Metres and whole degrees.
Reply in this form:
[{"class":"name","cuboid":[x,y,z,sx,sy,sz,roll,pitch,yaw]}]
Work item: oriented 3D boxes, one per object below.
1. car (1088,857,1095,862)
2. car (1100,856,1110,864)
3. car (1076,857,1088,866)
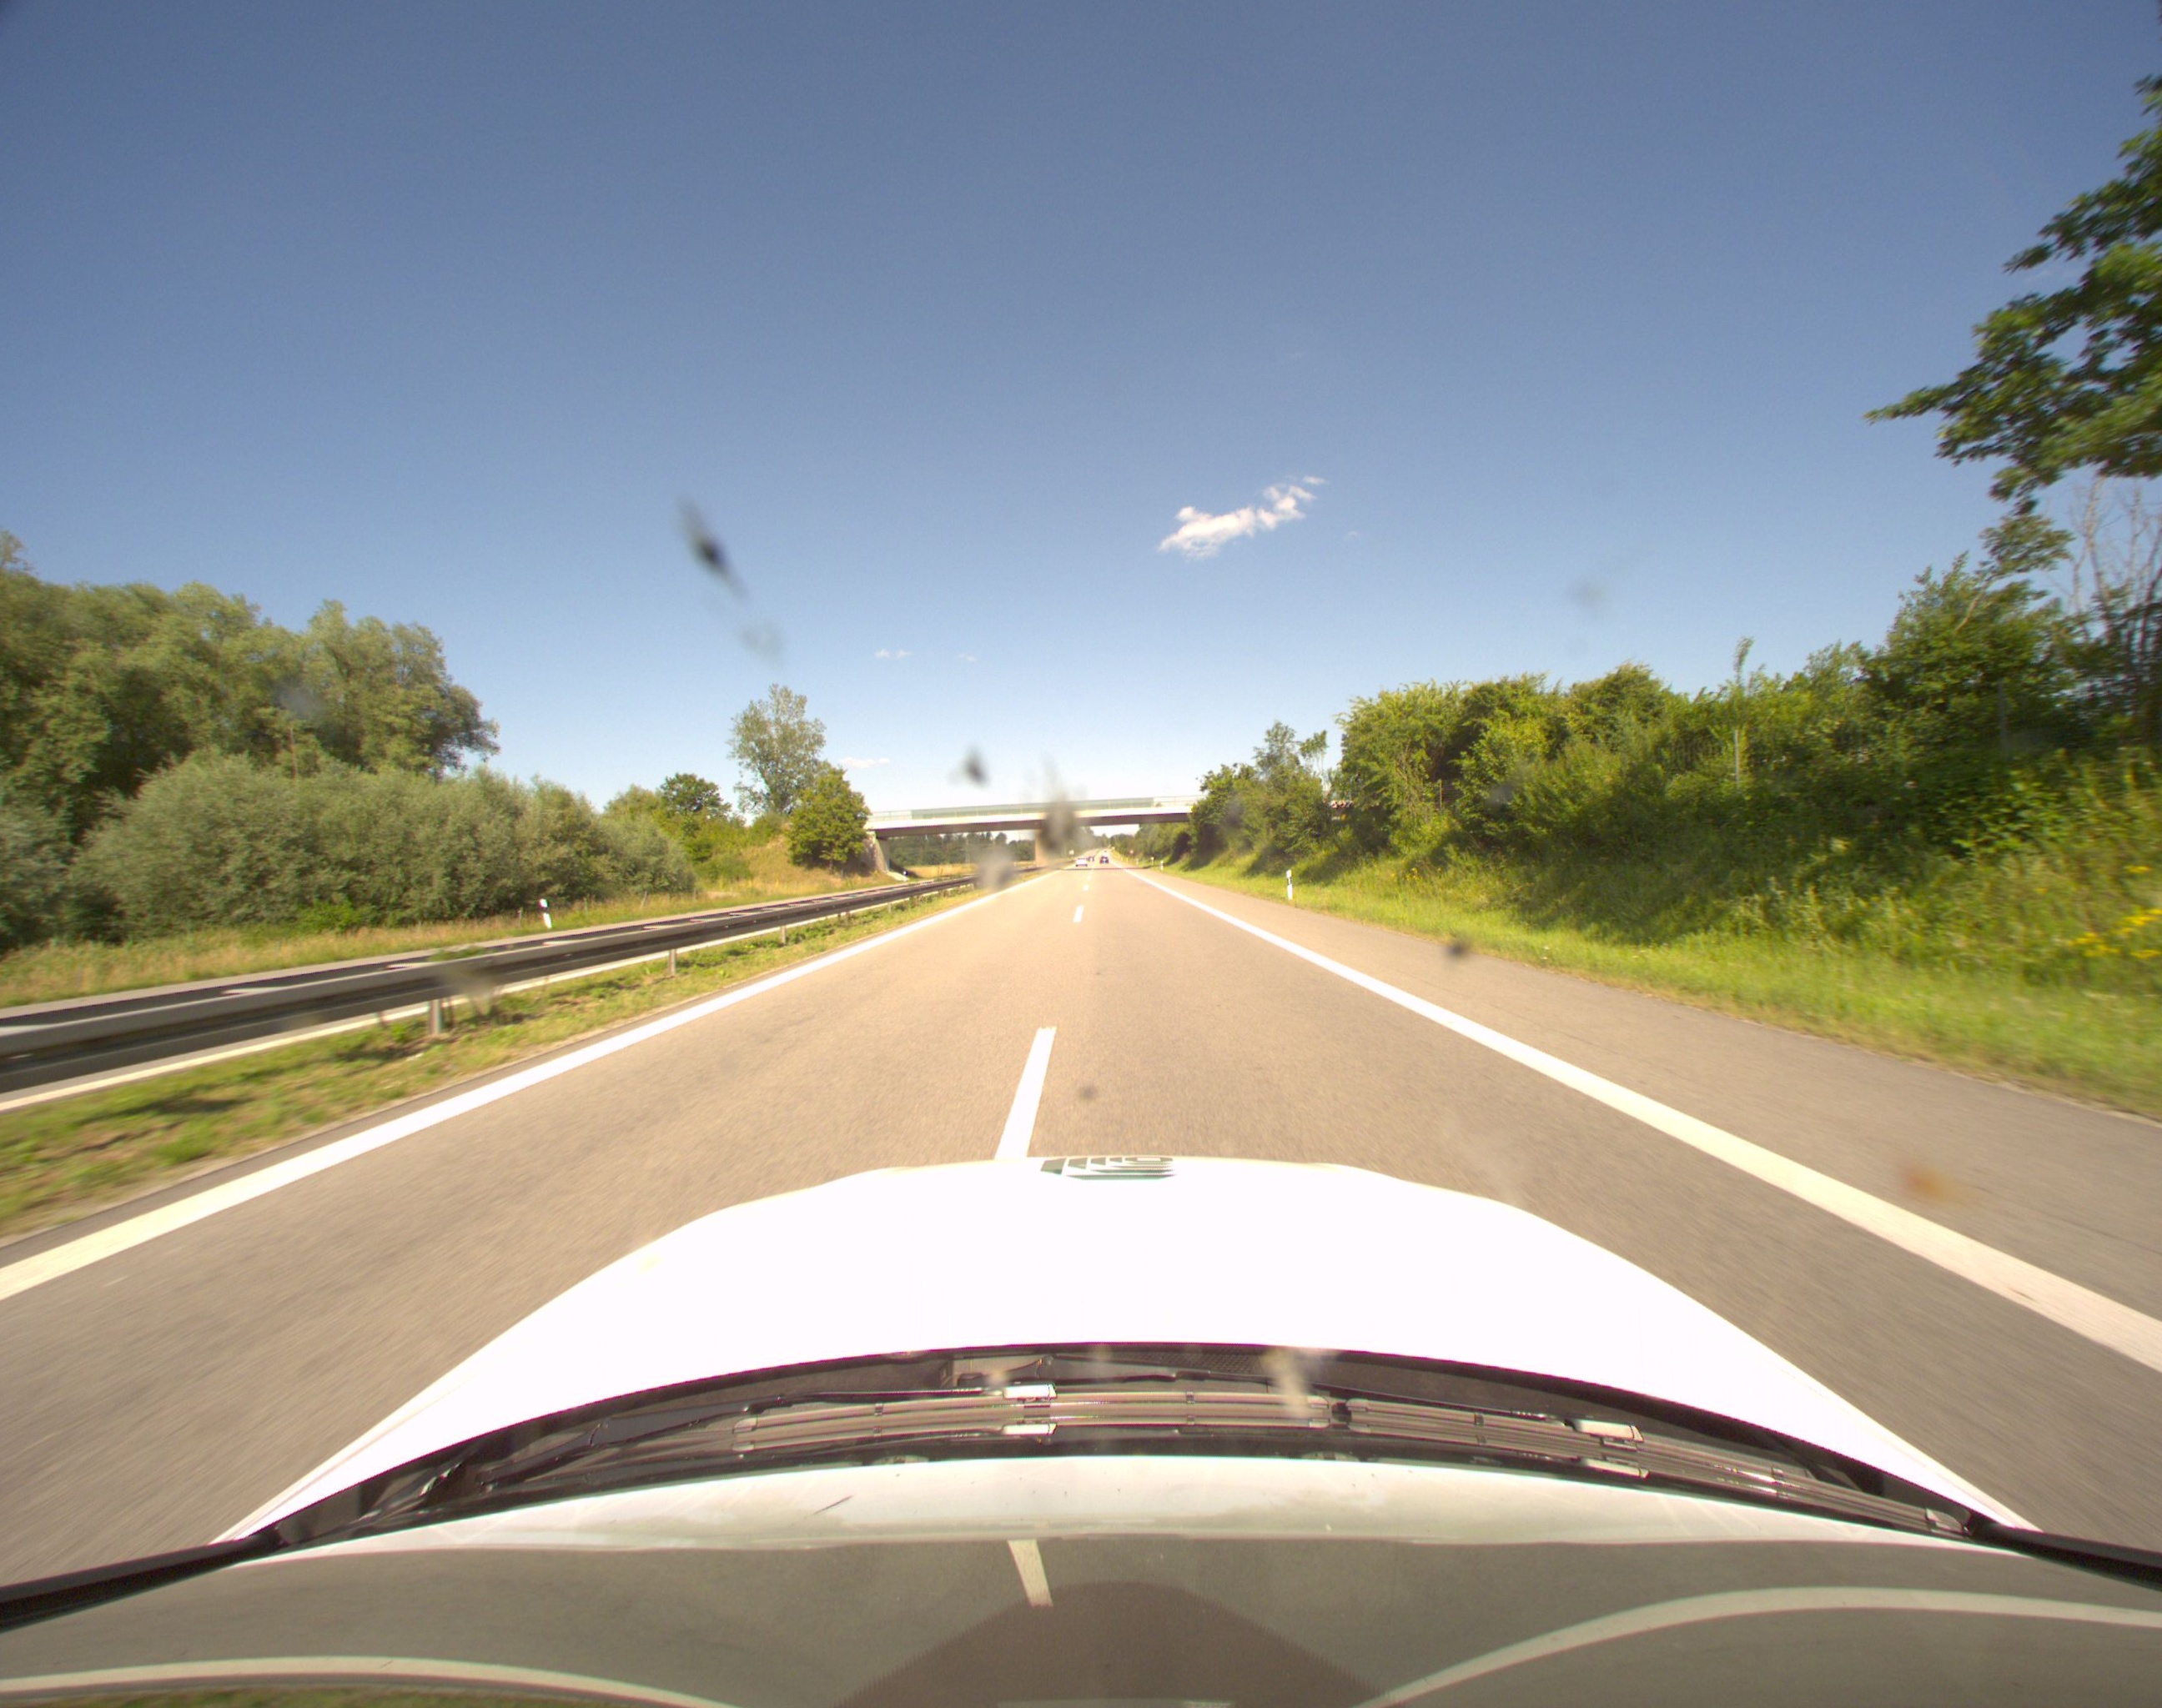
[{"class":"car","cuboid":[2.999,1.491,233.931,1.836,1.436,4.000,0,0,1]},{"class":"car","cuboid":[4.855,1.208,164.672,1.836,1.520,4.000,0,0,1]},{"class":"car","cuboid":[0.183,1.156,126.654,1.836,1.415,4.000,0,0,1]}]
